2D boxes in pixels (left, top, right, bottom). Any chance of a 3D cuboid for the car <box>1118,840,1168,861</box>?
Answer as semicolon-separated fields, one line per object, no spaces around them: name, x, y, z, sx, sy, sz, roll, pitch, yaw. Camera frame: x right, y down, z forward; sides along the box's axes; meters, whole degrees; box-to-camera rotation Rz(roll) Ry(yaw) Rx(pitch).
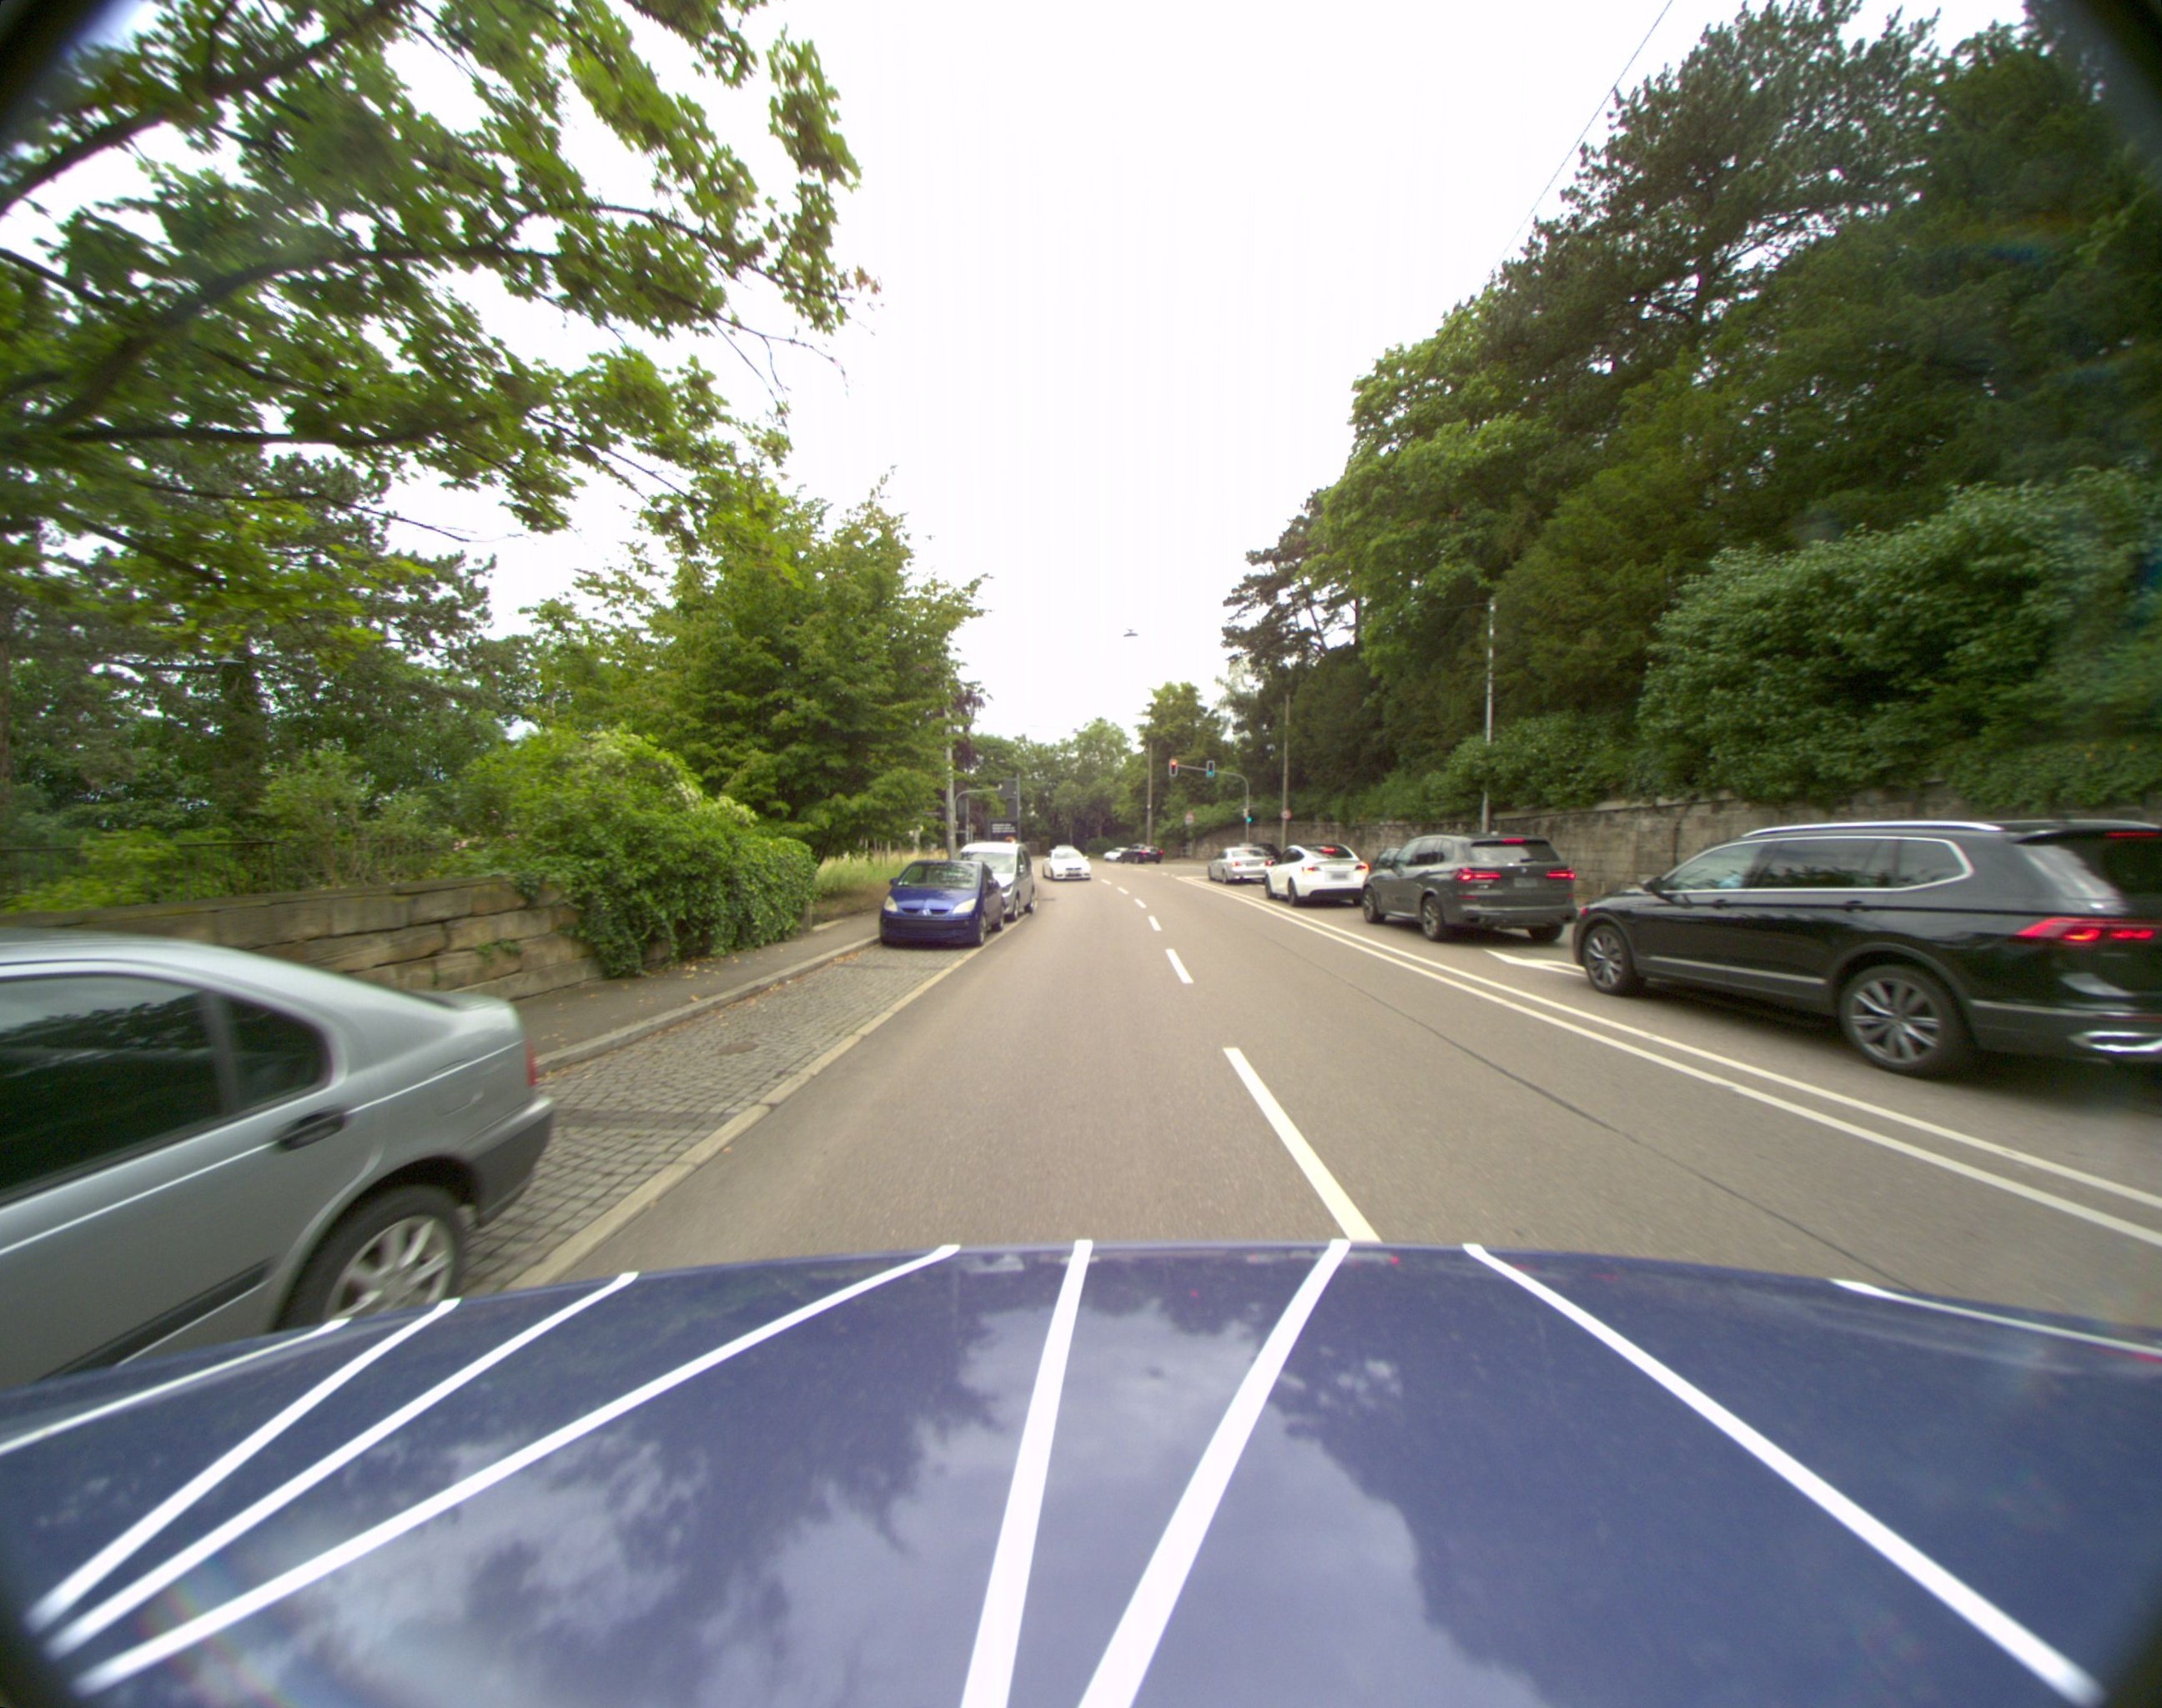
car;4.463;-0.230;55.469;1.741;1.444;4.041;-3;1;-27

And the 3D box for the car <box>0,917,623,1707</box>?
car;-2.825;0.996;0.901;1.774;1.391;4.550;1;1;1

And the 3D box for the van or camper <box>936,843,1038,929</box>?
van or camper;-2.144;0.669;18.480;1.702;1.834;4.242;-1;1;4

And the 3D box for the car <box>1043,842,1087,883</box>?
car;-0.724;0.348;37.721;1.822;1.464;4.780;-3;5;2

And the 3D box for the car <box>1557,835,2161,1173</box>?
car;6.114;0.711;5.982;1.852;1.642;4.623;1;1;1

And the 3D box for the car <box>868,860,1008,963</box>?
car;-2.367;0.893;13.515;1.601;1.451;3.942;1;1;2

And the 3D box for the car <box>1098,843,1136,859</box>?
car;4.163;-0.317;87.596;4.007;1.761;1.954;-1;1;-35

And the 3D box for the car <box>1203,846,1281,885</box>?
car;6.580;0.414;31.585;1.999;1.461;4.876;0;1;-3

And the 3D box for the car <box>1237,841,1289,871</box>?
car;9.404;0.076;39.615;1.635;1.426;3.957;-2;1;-1

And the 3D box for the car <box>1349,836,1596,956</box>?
car;6.535;0.581;13.476;1.964;1.739;4.878;0;1;2

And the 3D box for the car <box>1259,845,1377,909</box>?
car;6.363;0.537;20.989;1.842;1.545;4.788;-1;1;1
